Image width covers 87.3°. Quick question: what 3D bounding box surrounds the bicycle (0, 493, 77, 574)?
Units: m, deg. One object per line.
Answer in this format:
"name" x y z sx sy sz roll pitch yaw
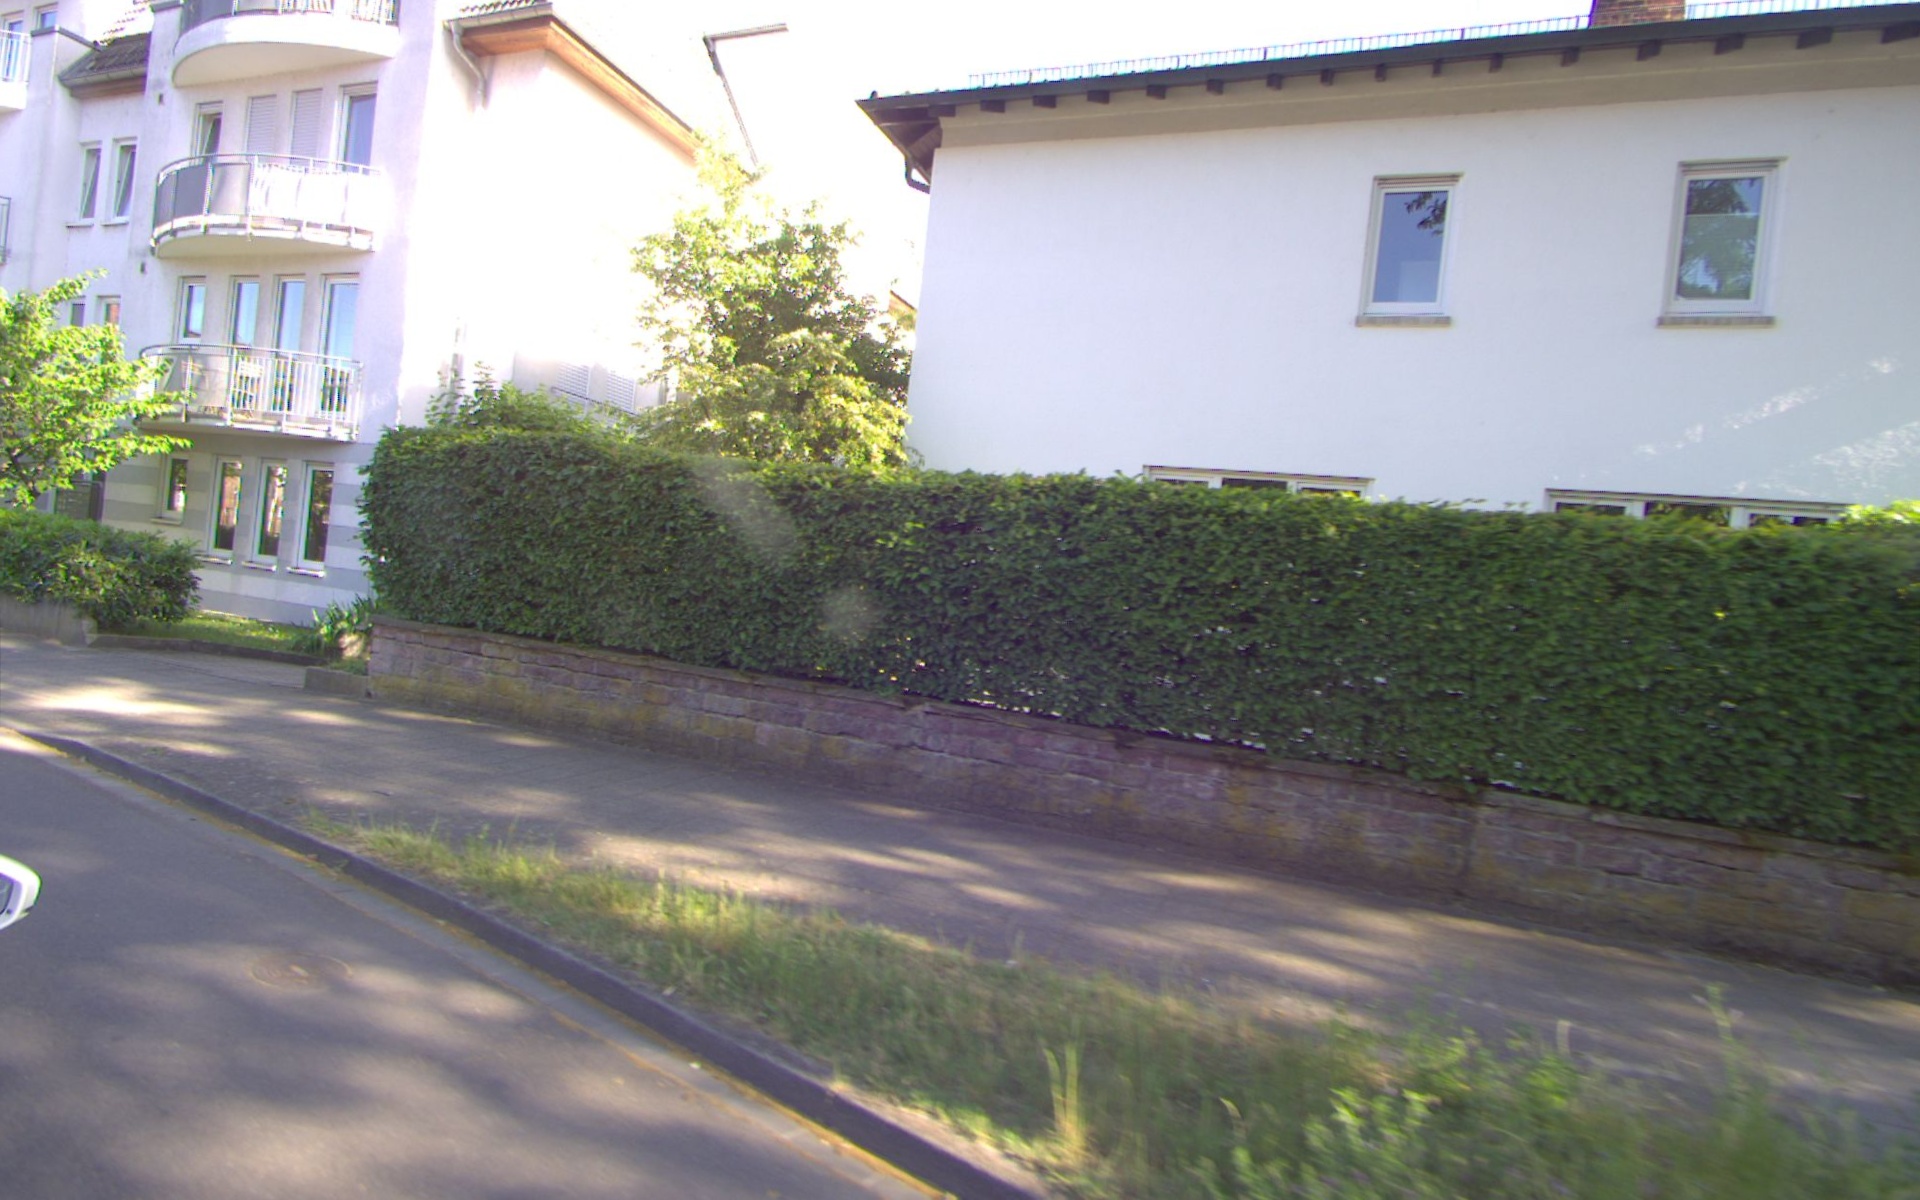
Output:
"bicycle" -15.049 -1.059 15.612 0.810 1.220 1.843 6 3 21
